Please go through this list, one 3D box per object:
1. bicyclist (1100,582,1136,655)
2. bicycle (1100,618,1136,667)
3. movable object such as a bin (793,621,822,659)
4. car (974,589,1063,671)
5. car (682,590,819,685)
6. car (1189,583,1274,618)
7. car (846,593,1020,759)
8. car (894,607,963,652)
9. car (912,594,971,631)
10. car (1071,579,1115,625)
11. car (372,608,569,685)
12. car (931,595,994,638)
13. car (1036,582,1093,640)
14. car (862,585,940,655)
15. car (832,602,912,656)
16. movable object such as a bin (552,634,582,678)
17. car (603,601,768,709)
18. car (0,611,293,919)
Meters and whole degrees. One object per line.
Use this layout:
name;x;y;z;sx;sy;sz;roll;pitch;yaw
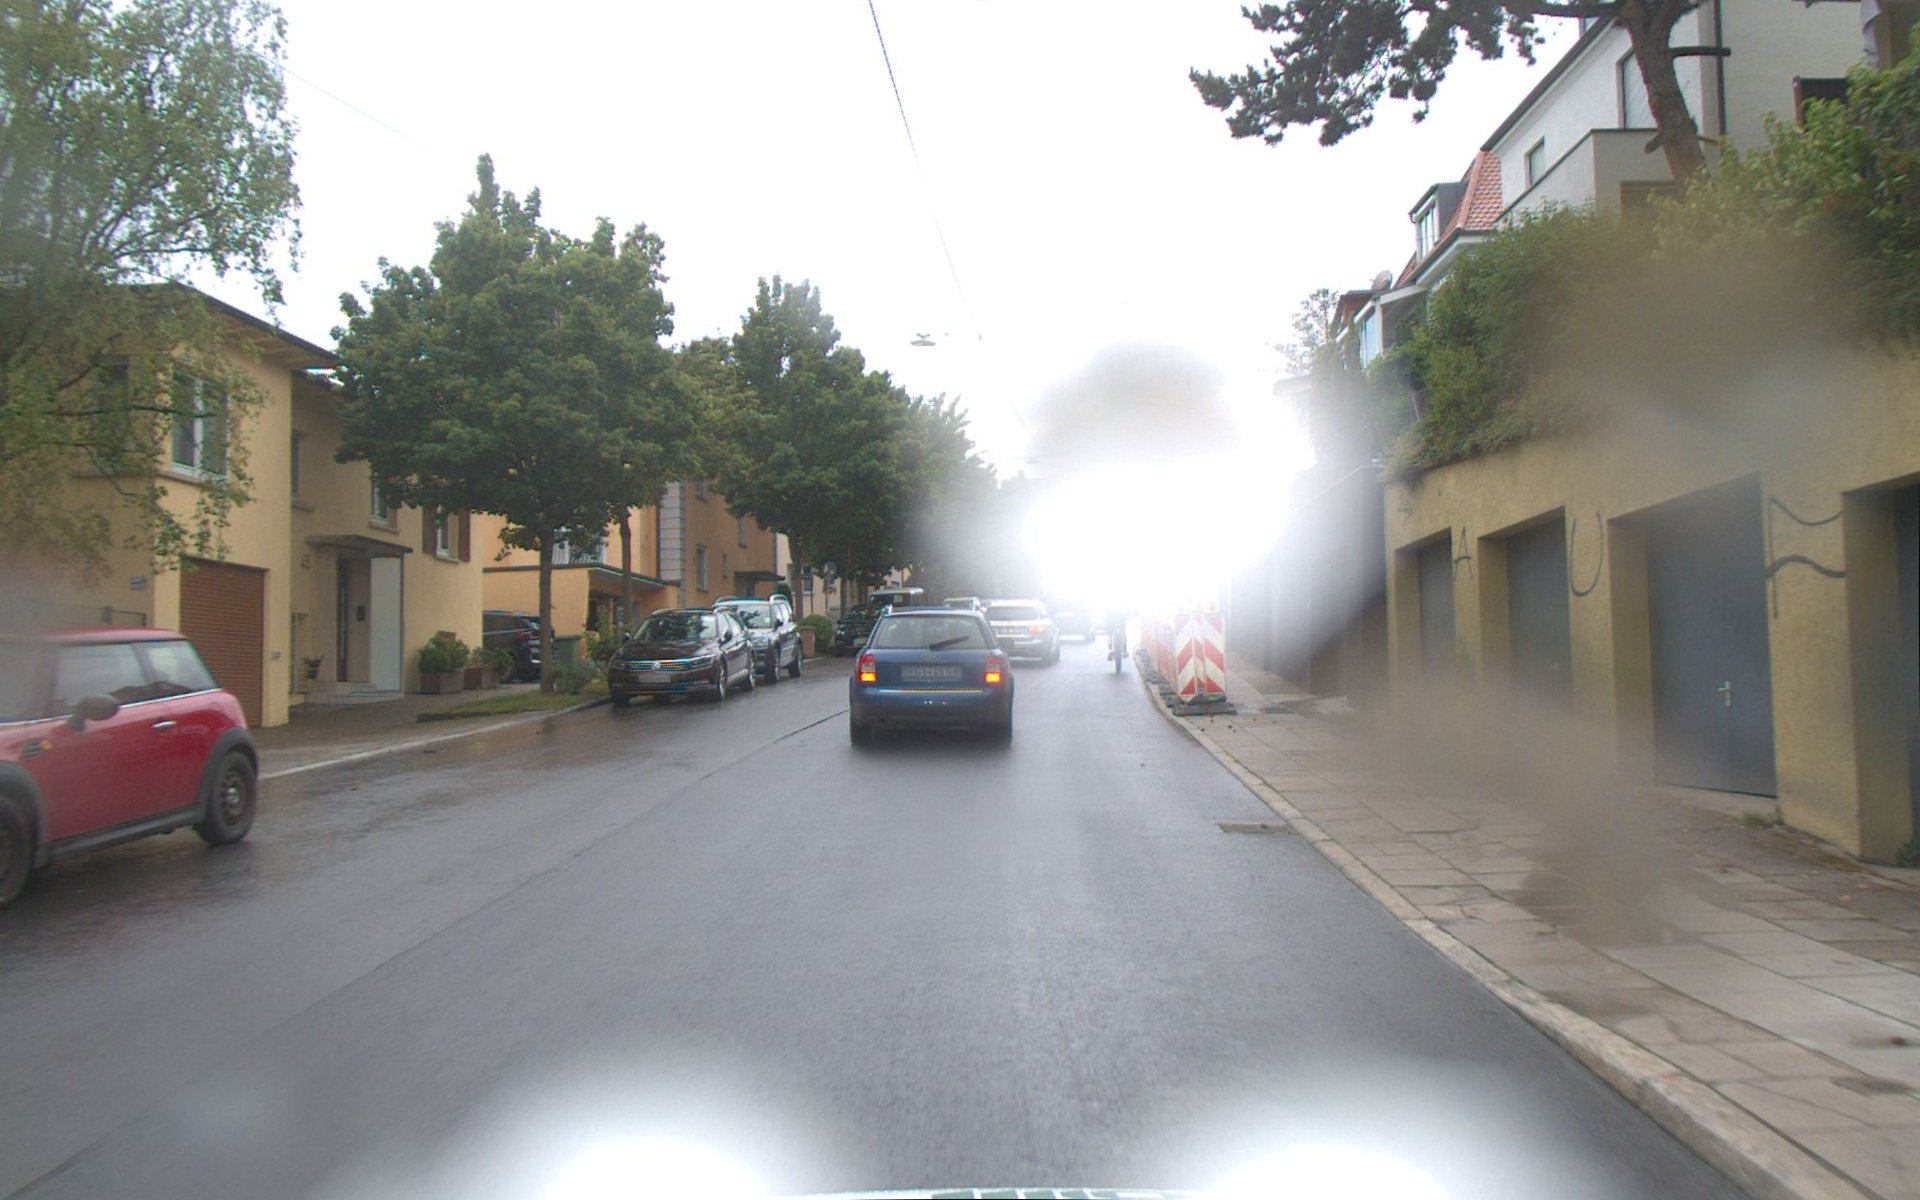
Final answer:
bicyclist;3.296;0.380;34.464;0.709;1.498;0.887;-1;0;6
bicycle;3.302;0.875;34.493;0.714;0.981;1.672;0;0;6
movable object such as a bin;-4.388;1.153;47.658;0.669;1.028;0.708;-5;0;1
car;1.400;0.652;38.584;1.934;1.663;4.237;1;2;3
car;-4.147;0.704;33.373;1.731;1.662;4.112;-4;0;6
car;13.167;0.023;80.250;3.902;1.492;1.741;-3;1;14
car;-0.223;0.744;18.300;1.697;1.492;4.001;1;2;1
car;-1.133;1.051;61.442;1.730;1.411;4.638;-3;1;9
car;-1.126;0.747;100.149;3.143;1.770;1.481;-7;0;11
car;5.778;0.050;71.422;1.697;1.799;4.239;1;2;7
car;-11.335;1.072;38.455;3.967;1.675;1.865;-1;-1;5
car;0.133;0.674;68.264;1.730;1.655;4.694;-3;-1;11
car;3.639;0.340;56.965;1.697;1.799;4.239;1;2;7
car;-1.906;0.616;55.203;1.754;2.085;4.785;-4;0;7
car;-2.595;0.831;49.694;1.731;1.461;4.350;-3;0;6
movable object such as a bin;-9.668;1.377;40.699;0.574;1.041;0.586;0;0;3
car;-4.510;0.849;27.839;1.731;1.562;4.607;-3;0;3
car;-5.445;0.831;9.354;1.647;1.497;3.866;-1;-1;2
